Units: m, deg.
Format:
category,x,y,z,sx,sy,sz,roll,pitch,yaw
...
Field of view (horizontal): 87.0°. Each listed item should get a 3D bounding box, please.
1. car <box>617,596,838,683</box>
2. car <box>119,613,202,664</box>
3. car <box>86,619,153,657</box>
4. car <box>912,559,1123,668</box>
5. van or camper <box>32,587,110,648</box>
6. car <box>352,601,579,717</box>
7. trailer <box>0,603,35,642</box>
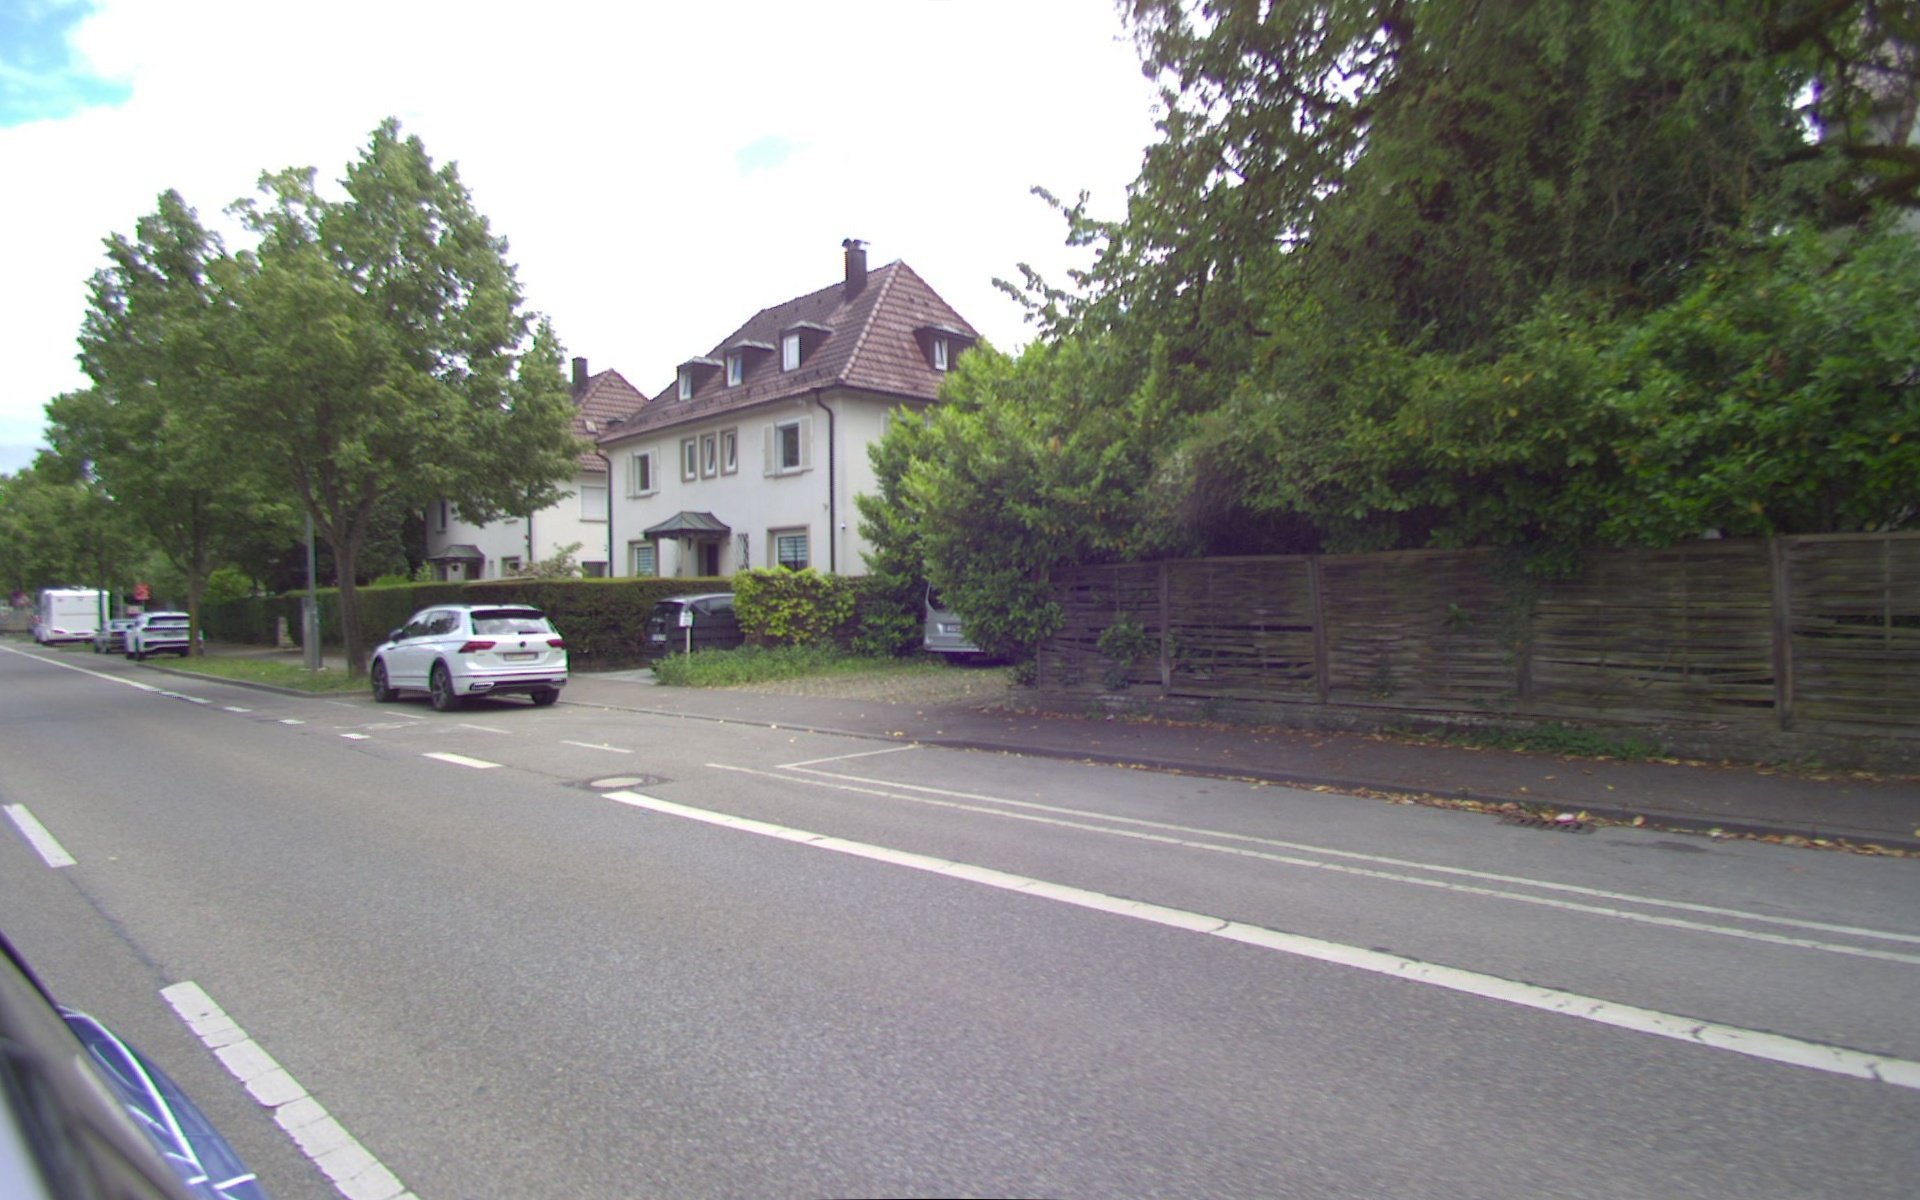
category,x,y,z,sx,sy,sz,roll,pitch,yaw
car,-4.658,0.732,20.686,1.765,1.597,4.152,-1,-1,43
car,-28.403,1.321,35.901,1.796,1.664,4.701,-1,0,-45
car,-35.620,1.578,42.829,4.450,1.481,1.539,-1,0,42
car,1.261,0.259,20.433,1.899,1.951,4.409,-1,-1,43
van or camper,-47.319,0.903,53.788,7.694,3.032,2.408,-1,-1,44
car,-8.487,0.900,17.152,4.866,1.701,1.853,-1,-1,43
trailer,-74.784,1.713,79.404,7.475,2.963,2.645,0,1,43
